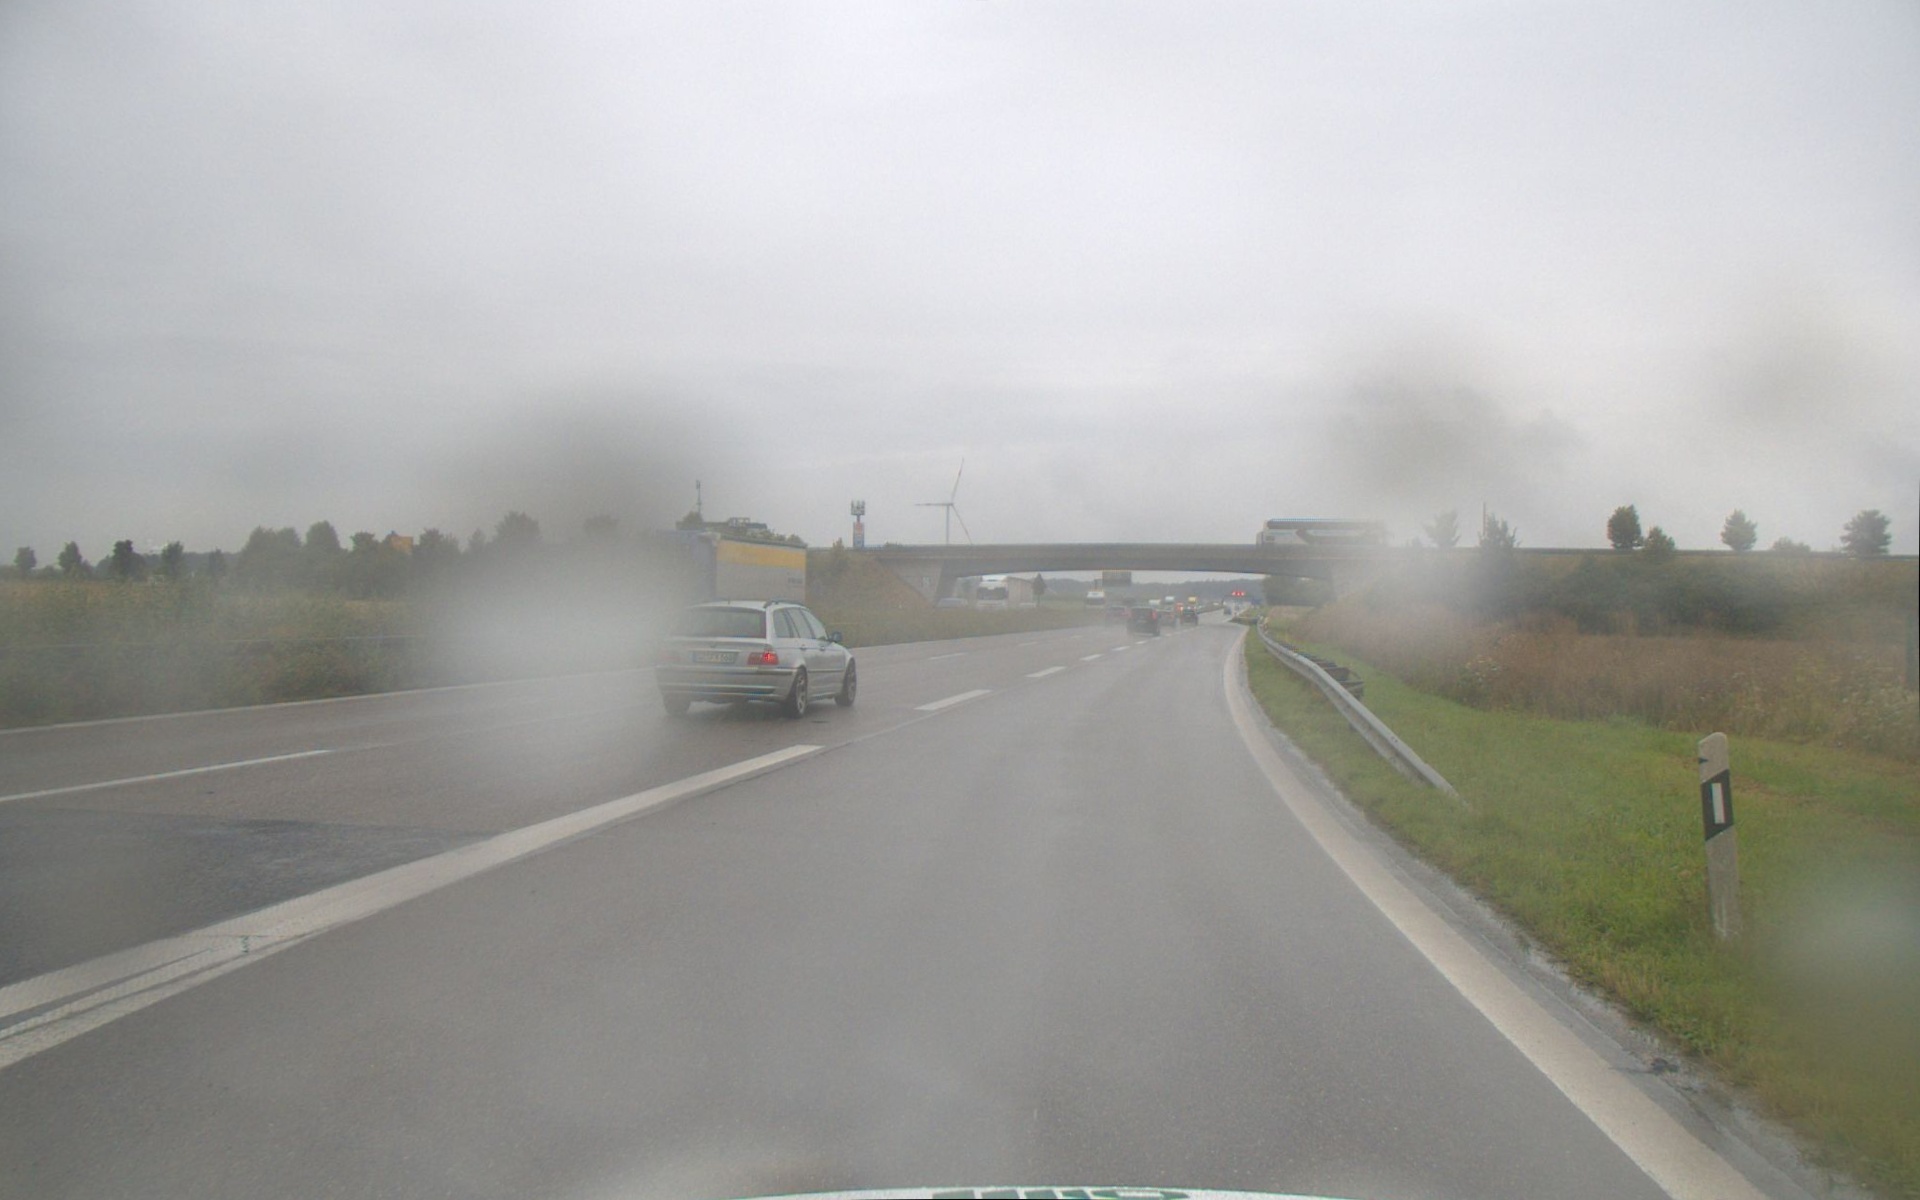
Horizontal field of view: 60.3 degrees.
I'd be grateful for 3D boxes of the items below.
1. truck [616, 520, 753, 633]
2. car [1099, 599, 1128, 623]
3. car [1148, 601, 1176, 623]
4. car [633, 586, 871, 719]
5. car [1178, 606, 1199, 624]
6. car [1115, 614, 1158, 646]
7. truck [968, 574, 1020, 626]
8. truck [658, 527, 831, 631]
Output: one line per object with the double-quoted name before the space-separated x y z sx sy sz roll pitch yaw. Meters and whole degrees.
"truck" -10.776 -0.860 65.435 3.126 4.035 6.668 3 0 9
"car" 12.208 0.862 131.429 1.951 1.780 4.004 -1 1 9
"car" 16.218 0.991 132.644 2.009 1.665 4.353 2 -1 9
"car" -2.555 0.633 21.611 1.834 1.514 4.799 1 -1 8
"car" 23.848 1.524 172.578 1.951 1.727 4.004 -1 1 9
"car" 9.998 1.695 93.552 2.100 1.665 4.598 2 -1 9
"truck" 3.112 0.044 148.199 3.160 4.462 10.522 0 0 9
"truck" -9.300 -0.778 74.292 3.126 4.035 15.330 3 0 9
